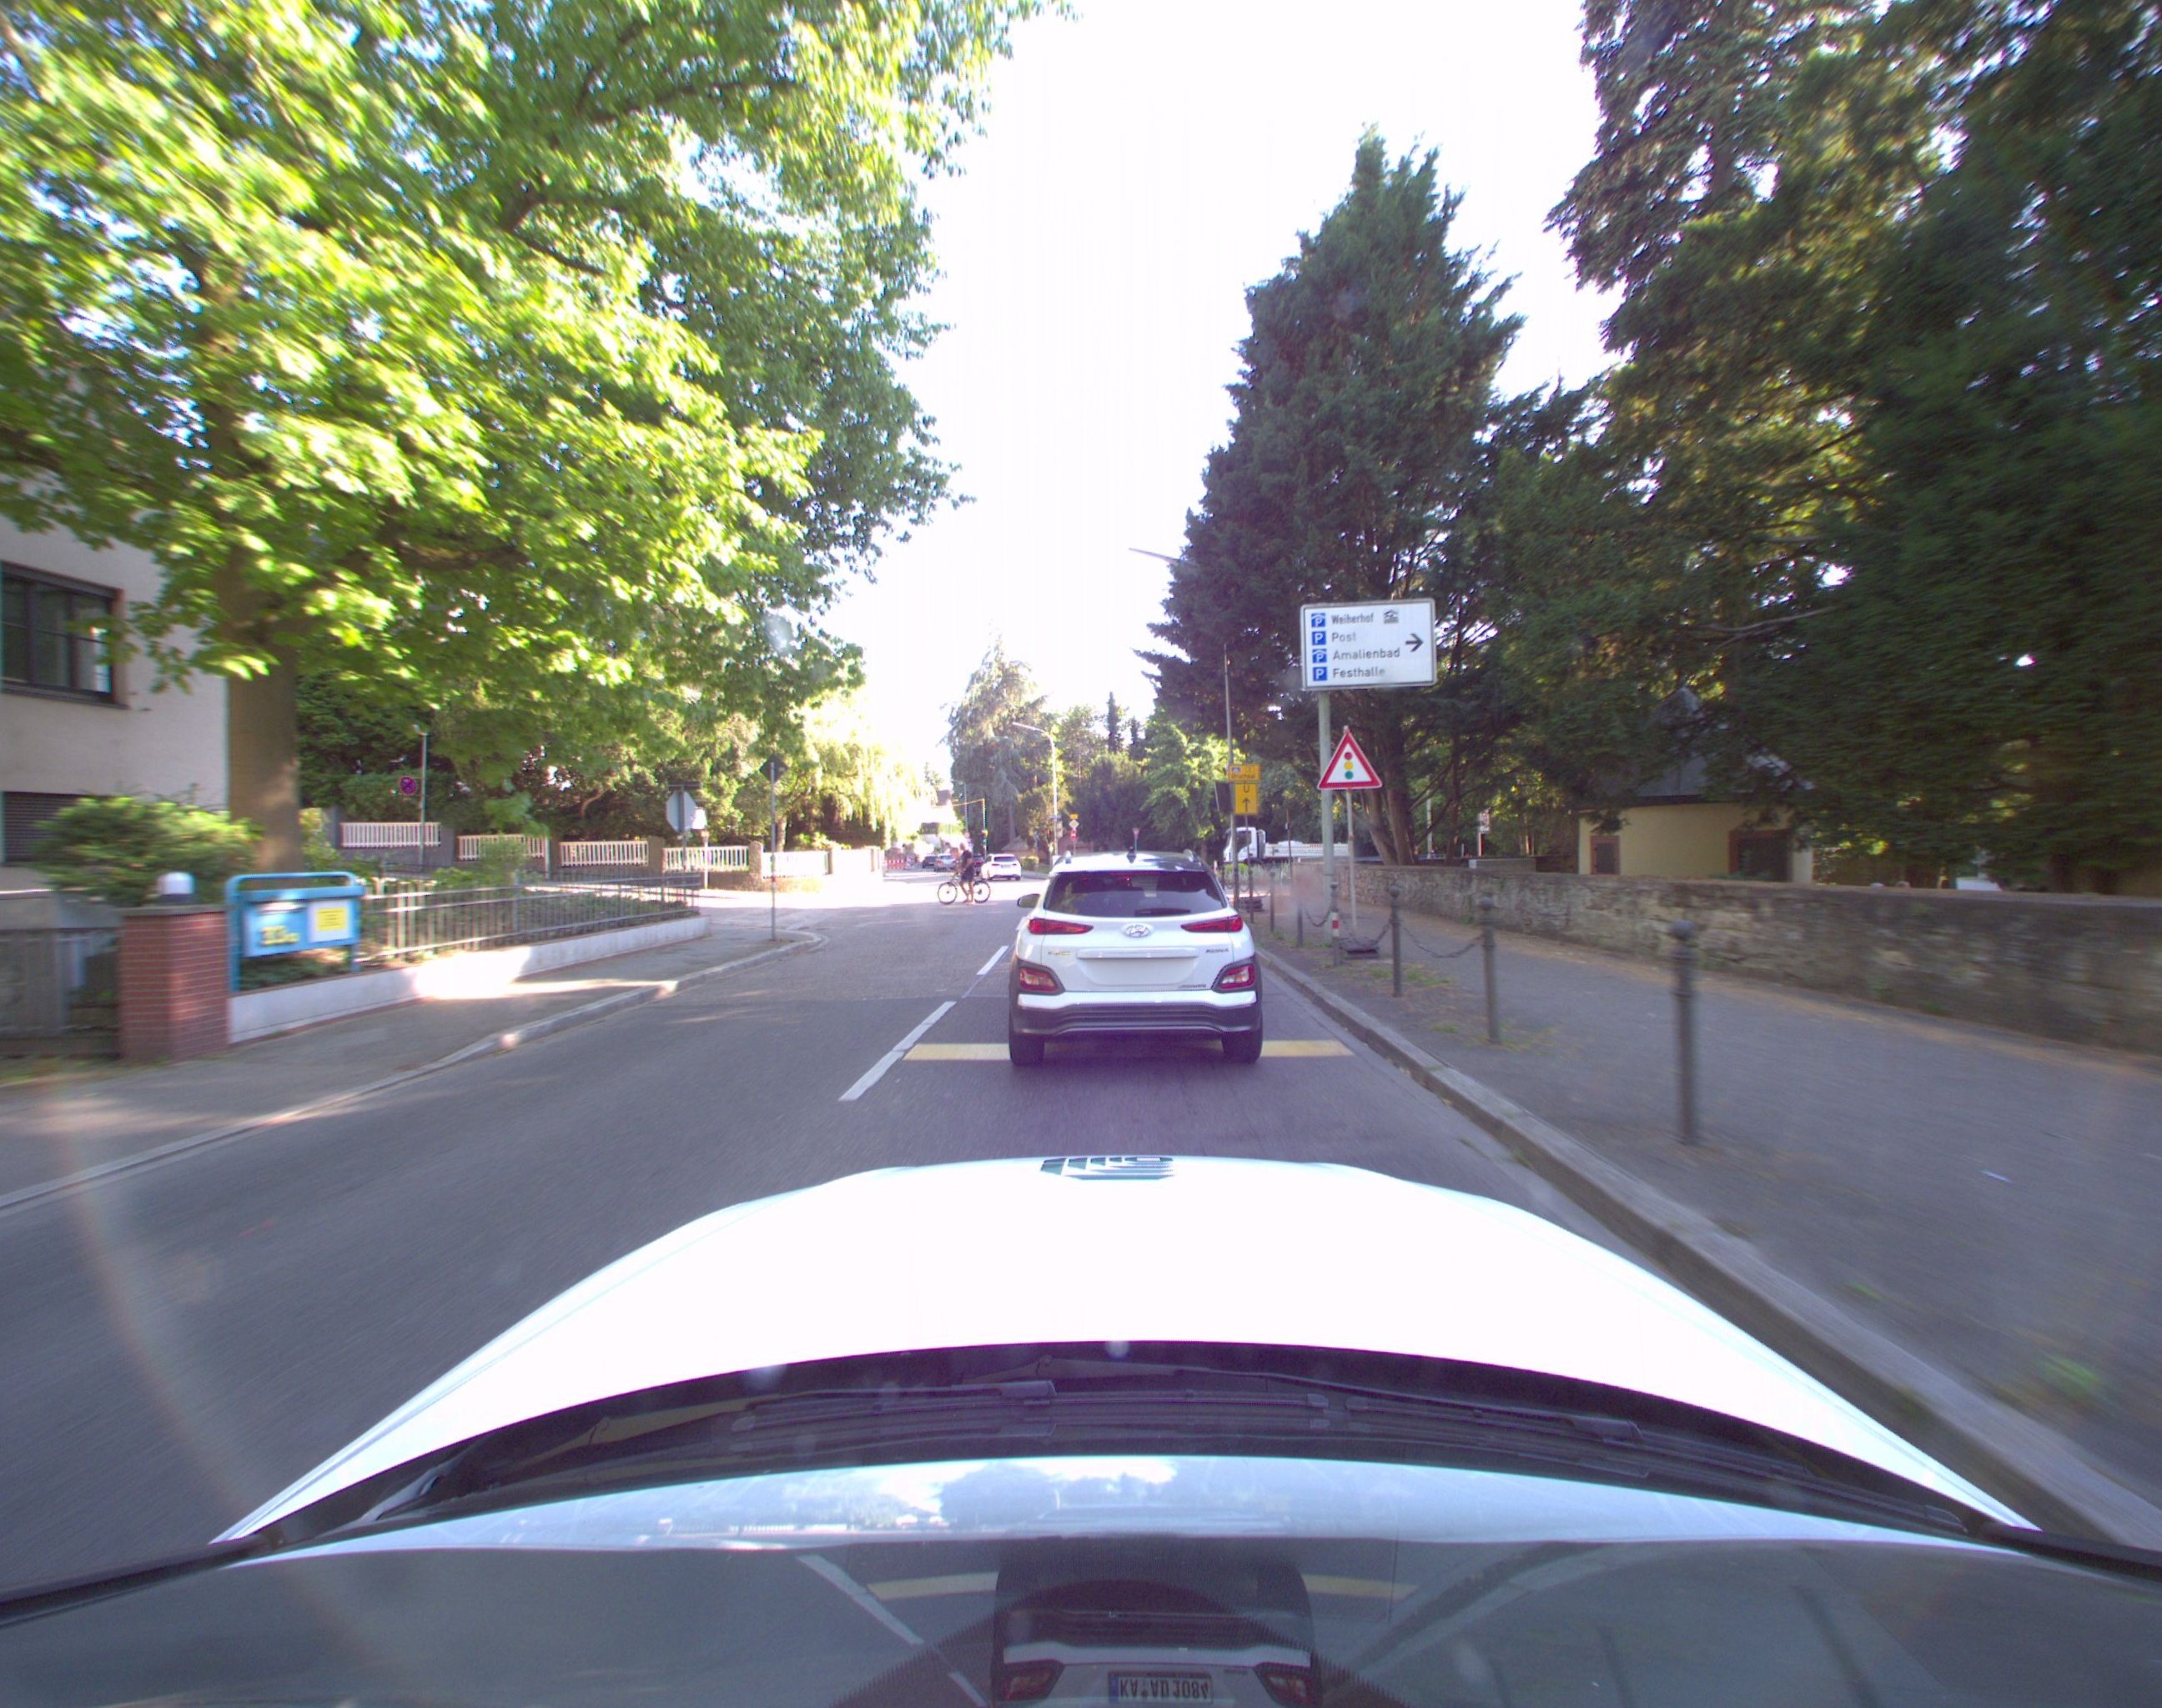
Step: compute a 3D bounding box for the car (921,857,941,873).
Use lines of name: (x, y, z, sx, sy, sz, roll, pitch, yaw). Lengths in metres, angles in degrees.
car: (-16.016, 1.173, 86.769, 1.835, 1.662, 3.979, 0, 0, -15)

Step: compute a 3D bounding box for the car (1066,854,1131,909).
car: (0.535, 0.738, 23.796, 1.701, 1.434, 4.367, 0, 0, 2)

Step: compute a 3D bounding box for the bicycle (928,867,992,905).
bicycle: (-3.574, 0.926, 24.176, 1.825, 1.043, 0.555, 0, 1, -36)

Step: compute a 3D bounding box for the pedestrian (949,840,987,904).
pedestrian: (-3.301, 0.512, 23.743, 0.947, 1.826, 0.548, 0, 1, -37)

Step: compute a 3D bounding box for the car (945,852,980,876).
car: (-8.528, 0.715, 58.350, 1.837, 1.662, 3.975, 0, 0, -18)

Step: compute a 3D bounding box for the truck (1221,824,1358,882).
truck: (10.573, -0.067, 41.828, 6.552, 2.895, 2.438, 0, 0, 6)

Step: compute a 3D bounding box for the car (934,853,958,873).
car: (-12.240, 0.796, 73.655, 1.834, 1.740, 3.981, 0, 0, -14)

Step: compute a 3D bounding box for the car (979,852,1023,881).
car: (-4.596, 0.683, 46.484, 1.809, 1.537, 3.978, 0, 0, -16)

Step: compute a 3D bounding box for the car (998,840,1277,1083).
car: (0.424, 0.694, 7.307, 1.814, 1.574, 4.001, 0, 0, 1)

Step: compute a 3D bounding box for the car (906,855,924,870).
car: (-19.738, 1.012, 96.875, 1.836, 1.662, 3.978, 0, 0, -16)
